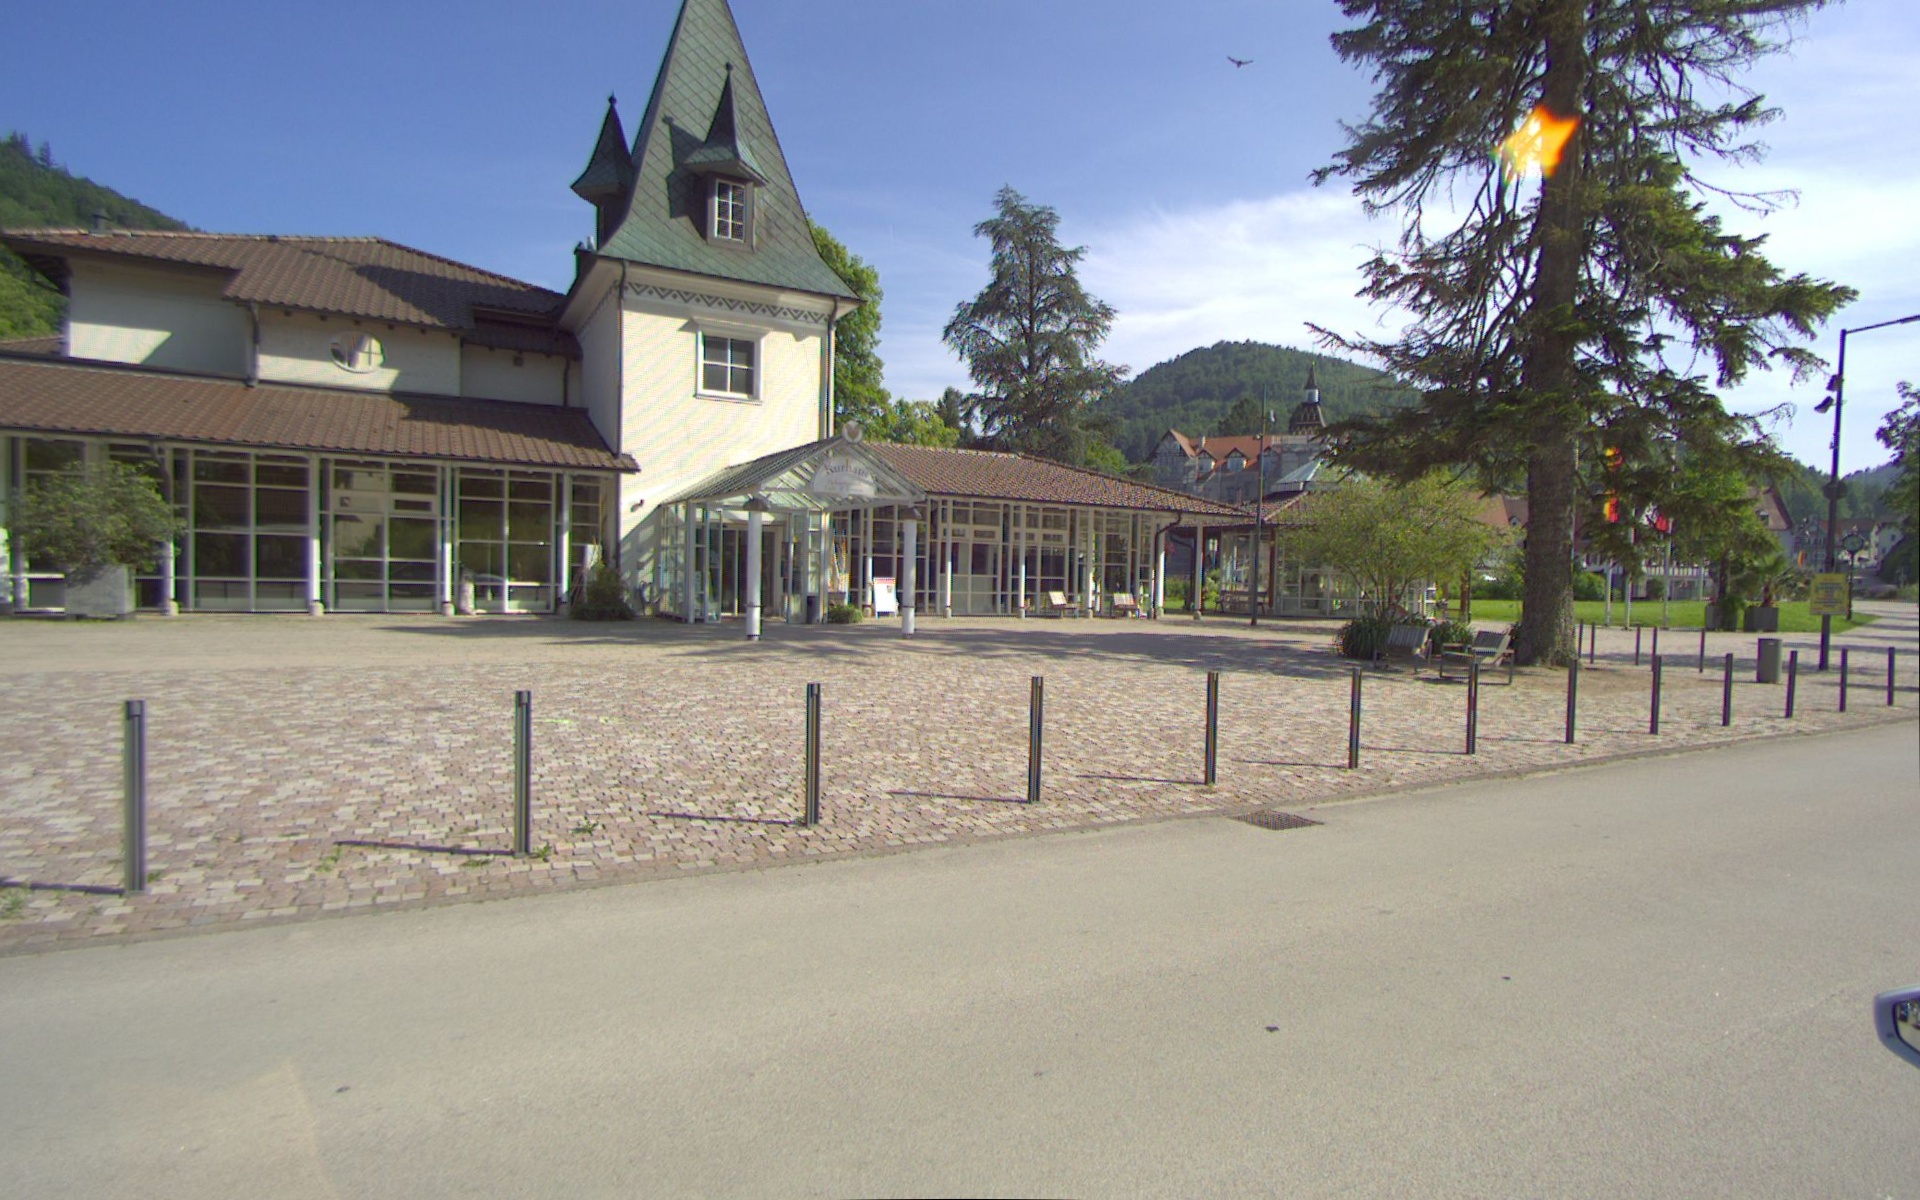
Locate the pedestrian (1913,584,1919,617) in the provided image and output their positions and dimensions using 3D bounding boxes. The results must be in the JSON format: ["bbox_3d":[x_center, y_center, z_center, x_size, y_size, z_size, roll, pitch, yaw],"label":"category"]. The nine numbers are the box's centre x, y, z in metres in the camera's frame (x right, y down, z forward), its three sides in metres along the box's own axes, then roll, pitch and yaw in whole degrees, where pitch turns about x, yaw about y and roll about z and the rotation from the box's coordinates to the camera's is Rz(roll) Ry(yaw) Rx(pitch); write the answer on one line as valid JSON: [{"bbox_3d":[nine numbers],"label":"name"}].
[{"bbox_3d":[54.602,0.031,56.787,0.855,1.839,0.689,3,3,34],"label":"pedestrian"}]
